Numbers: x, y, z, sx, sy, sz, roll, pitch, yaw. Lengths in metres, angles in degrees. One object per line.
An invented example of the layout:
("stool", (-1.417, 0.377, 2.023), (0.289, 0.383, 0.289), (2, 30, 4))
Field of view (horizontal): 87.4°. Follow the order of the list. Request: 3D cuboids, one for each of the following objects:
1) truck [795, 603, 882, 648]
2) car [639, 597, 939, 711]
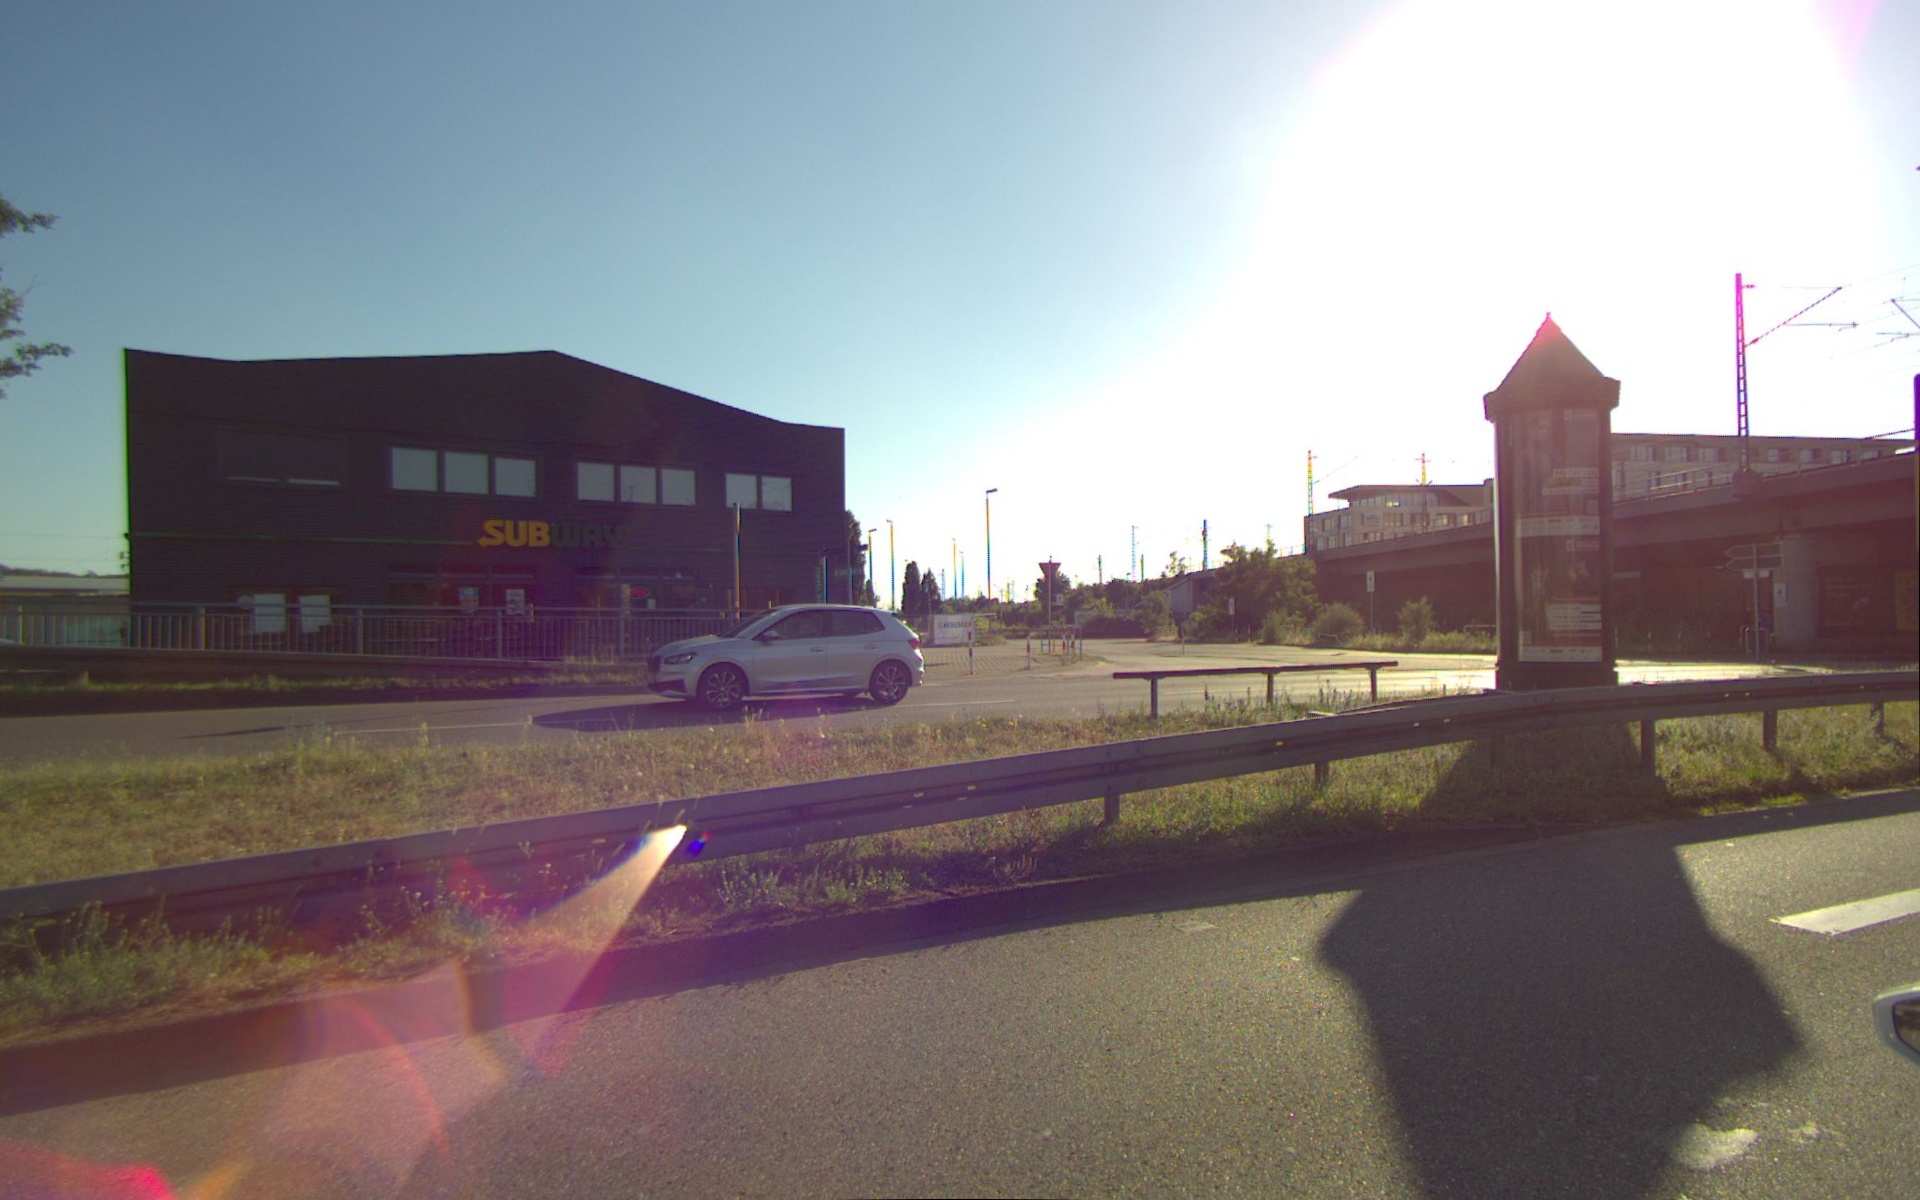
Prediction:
("truck", (-8.978, 1.879, 74.775), (2.400, 3.186, 6.753), (0, -1, 37))
("car", (-2.492, 0.772, 14.860), (4.056, 1.482, 1.665), (2, -2, -30))
